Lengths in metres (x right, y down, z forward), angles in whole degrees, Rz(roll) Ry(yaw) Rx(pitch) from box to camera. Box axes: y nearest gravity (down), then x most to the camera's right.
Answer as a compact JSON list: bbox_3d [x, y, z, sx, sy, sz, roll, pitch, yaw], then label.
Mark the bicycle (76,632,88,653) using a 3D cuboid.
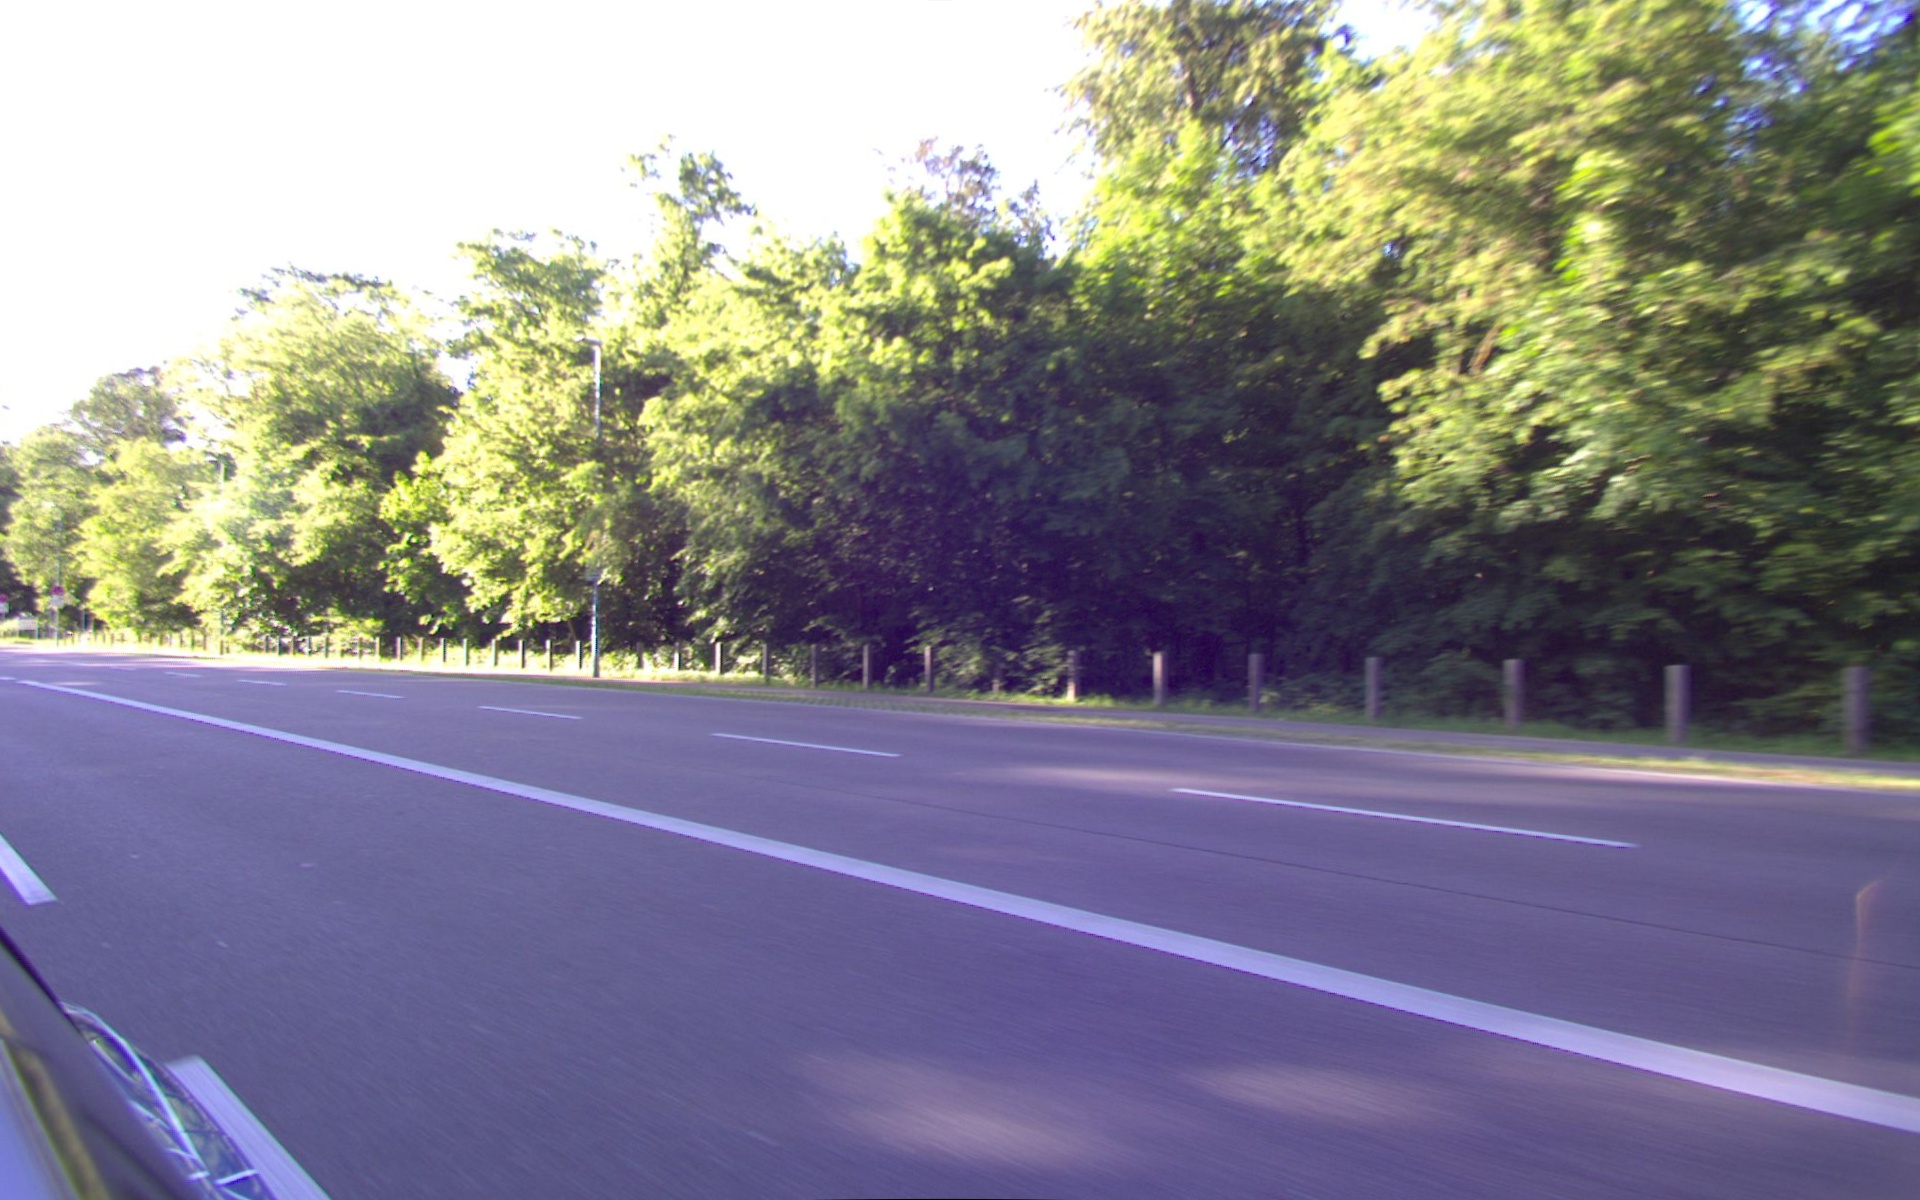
[{"bbox_3d":[-52.059,2.511,60.026,0.396,1.140,2.221,-1,0,-44],"label":"bicycle"}]
